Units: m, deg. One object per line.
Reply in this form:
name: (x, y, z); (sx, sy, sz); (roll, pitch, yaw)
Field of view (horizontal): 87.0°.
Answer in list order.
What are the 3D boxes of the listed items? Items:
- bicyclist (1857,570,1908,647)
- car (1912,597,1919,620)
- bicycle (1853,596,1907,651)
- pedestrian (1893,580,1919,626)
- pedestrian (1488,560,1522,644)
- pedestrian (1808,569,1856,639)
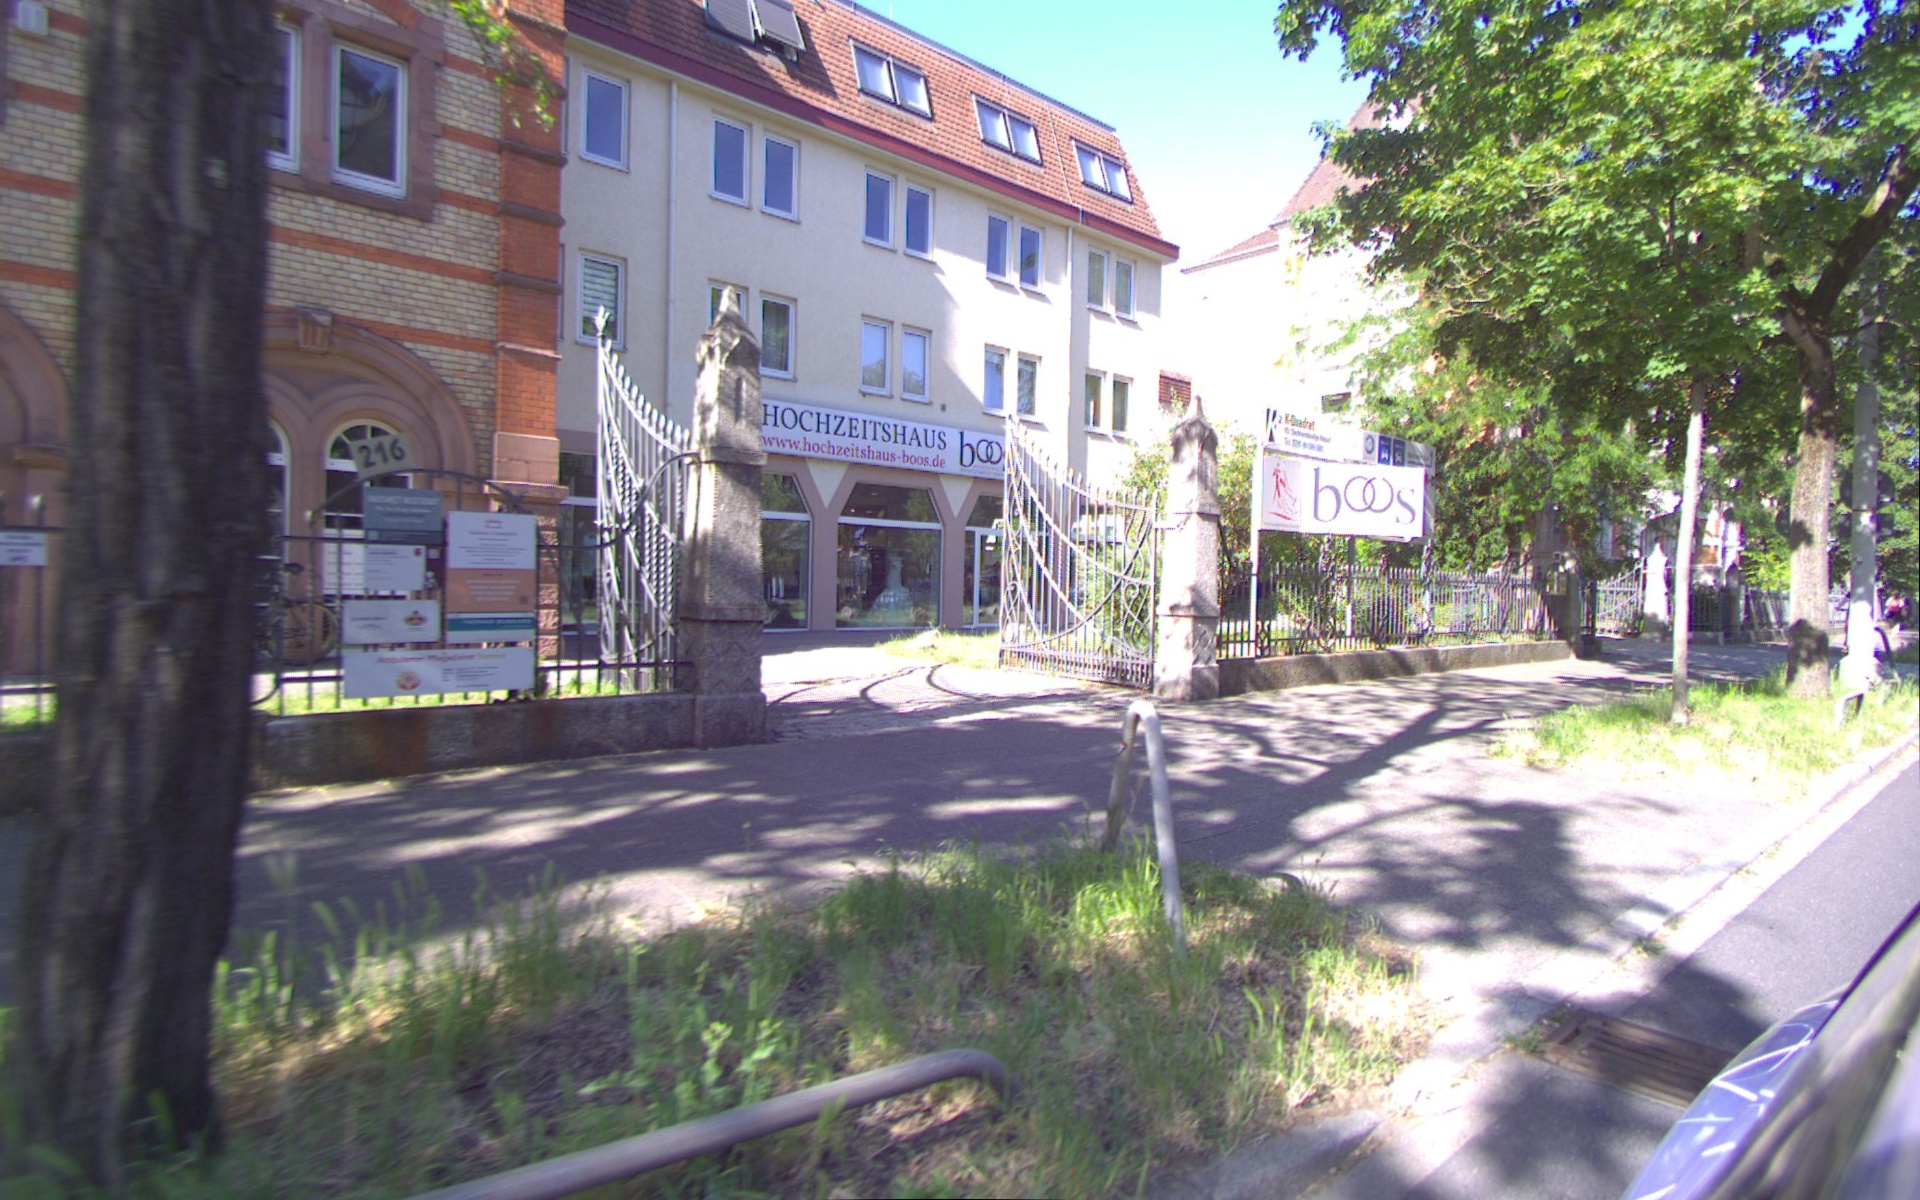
bicyclist: (21.530, 0.188, 23.625); (0.873, 1.715, 0.647); (1, 4, -41)
car: (64.348, 0.659, 65.025); (2.010, 1.434, 4.418); (1, 3, -39)
bicycle: (21.527, 0.534, 23.663); (1.811, 1.190, 0.654); (1, 4, -41)
pedestrian: (36.551, 0.104, 38.973); (0.806, 1.678, 0.696); (0, 5, -41)
pedestrian: (11.966, 0.040, 22.243); (0.527, 1.800, 0.539); (3, 2, 23)
pedestrian: (23.497, 0.103, 27.266); (0.796, 1.808, 0.749); (1, 4, -40)
